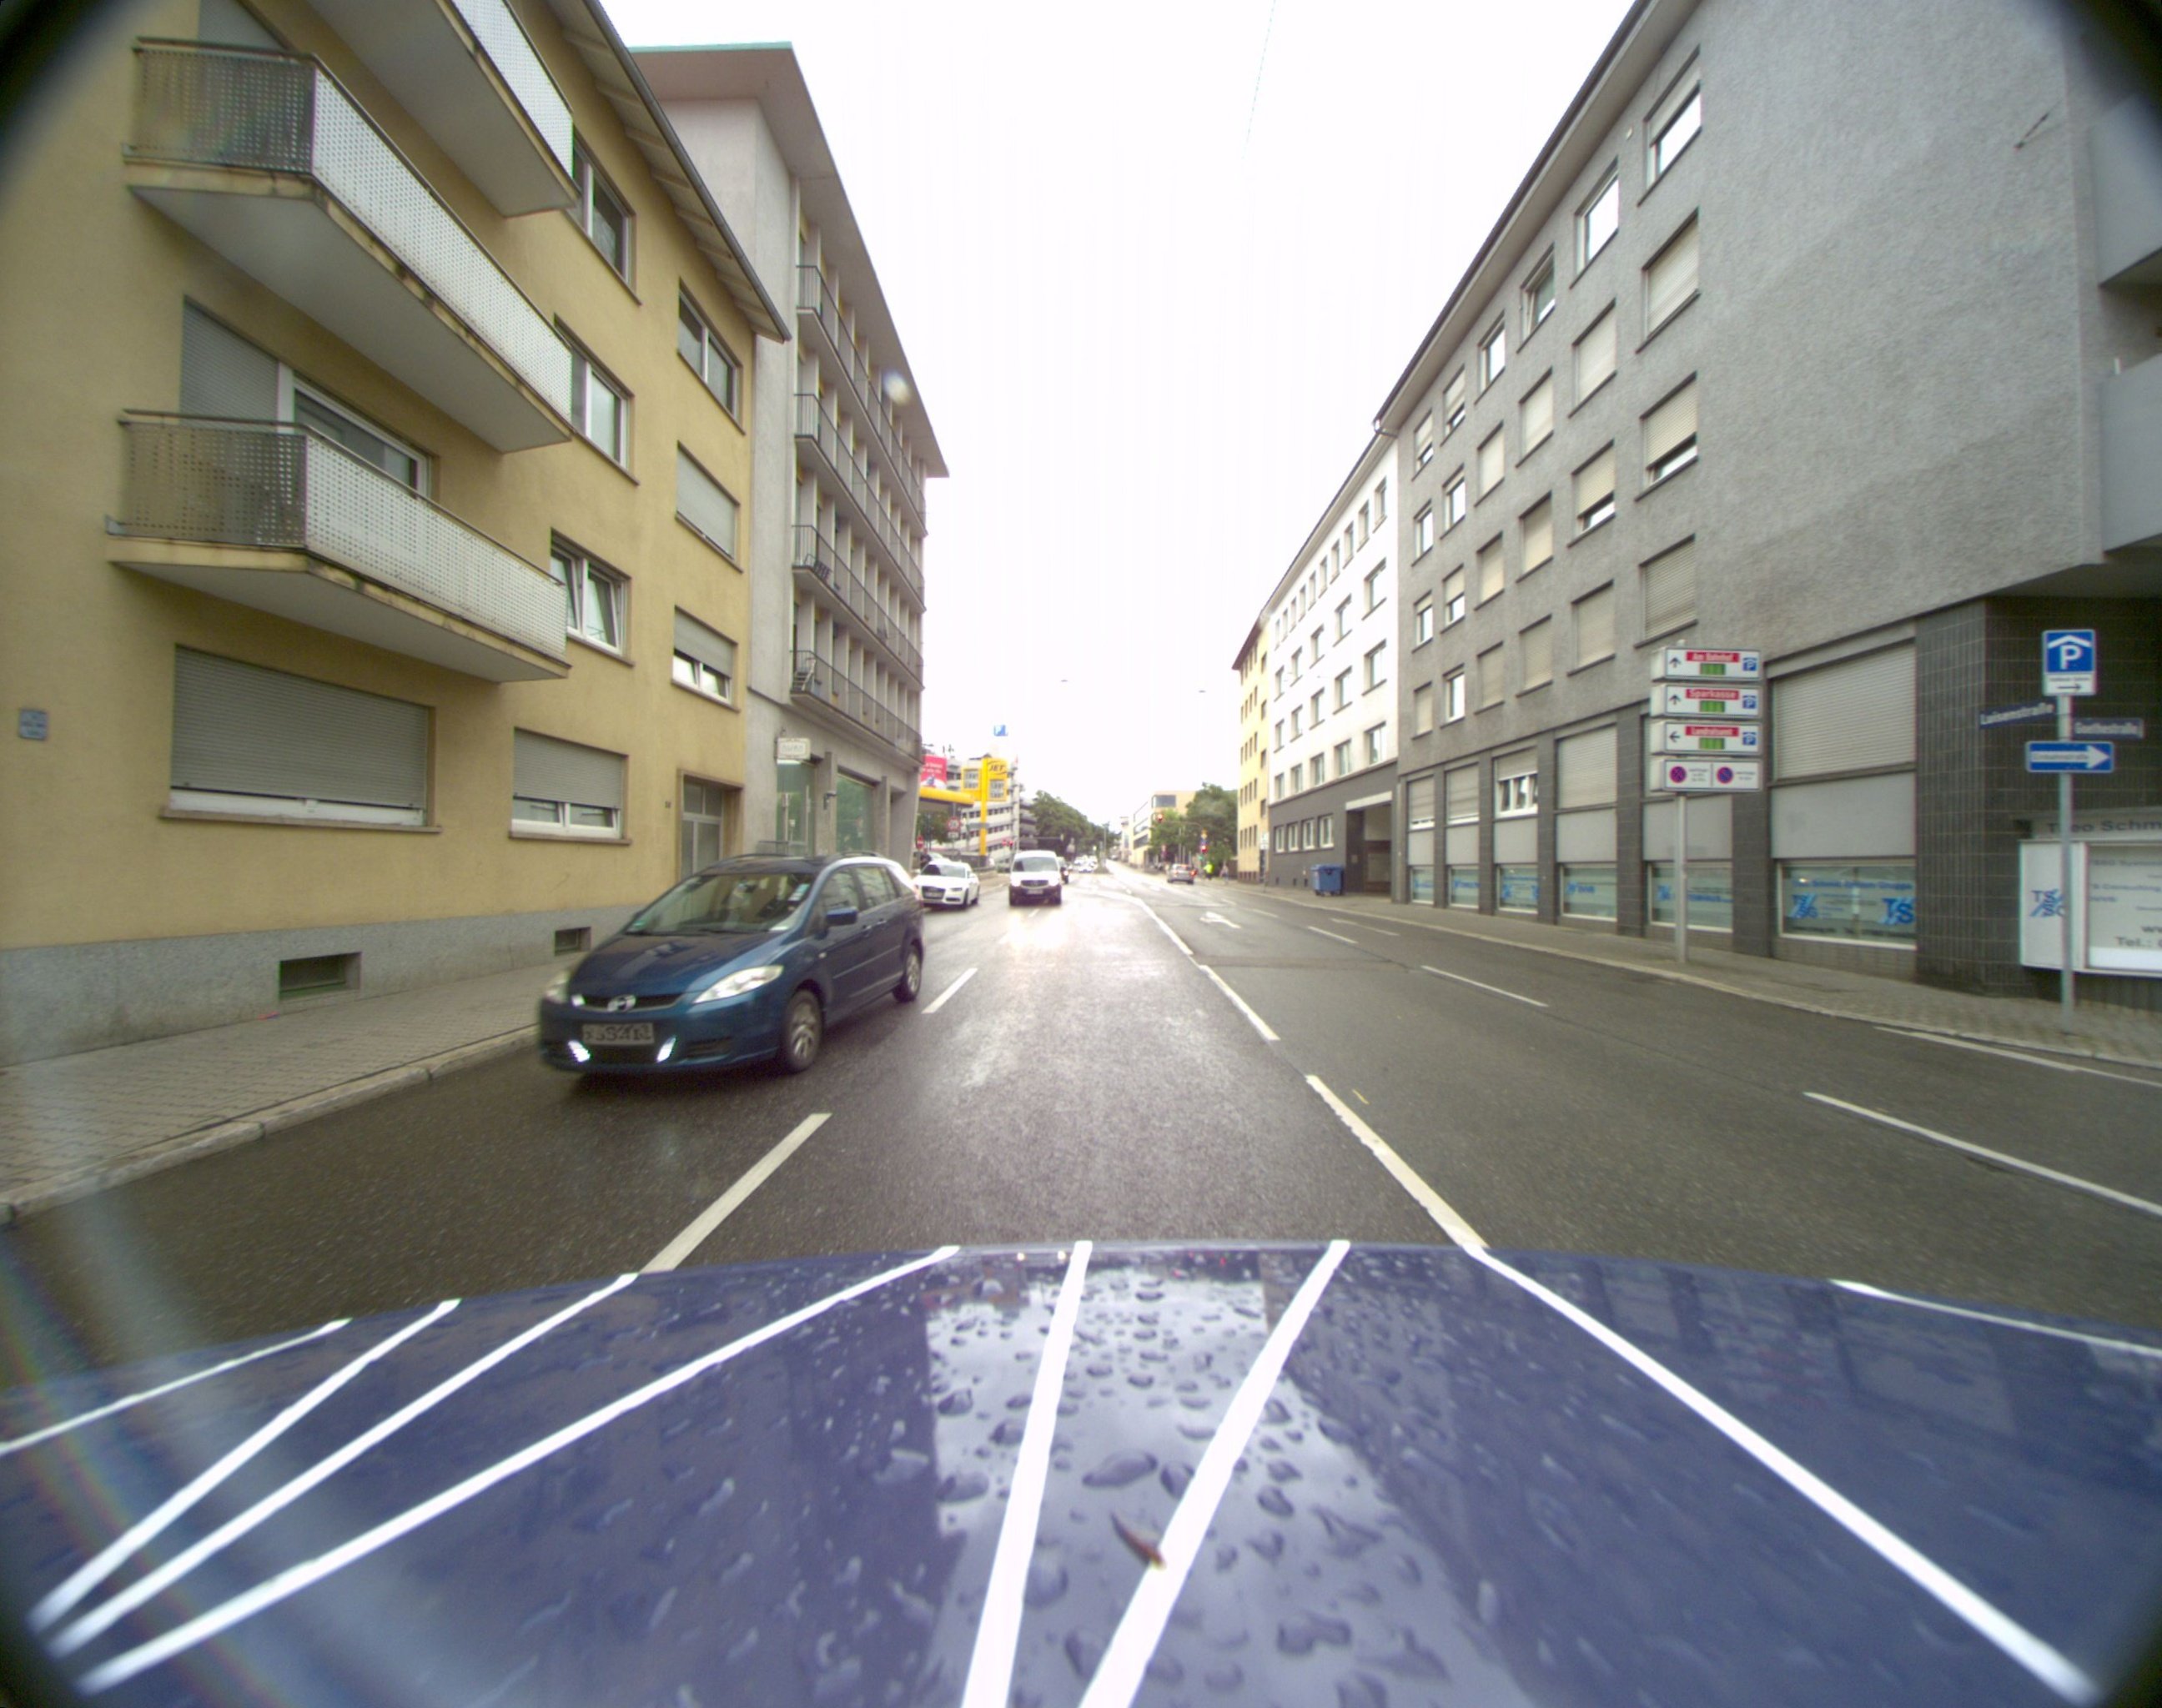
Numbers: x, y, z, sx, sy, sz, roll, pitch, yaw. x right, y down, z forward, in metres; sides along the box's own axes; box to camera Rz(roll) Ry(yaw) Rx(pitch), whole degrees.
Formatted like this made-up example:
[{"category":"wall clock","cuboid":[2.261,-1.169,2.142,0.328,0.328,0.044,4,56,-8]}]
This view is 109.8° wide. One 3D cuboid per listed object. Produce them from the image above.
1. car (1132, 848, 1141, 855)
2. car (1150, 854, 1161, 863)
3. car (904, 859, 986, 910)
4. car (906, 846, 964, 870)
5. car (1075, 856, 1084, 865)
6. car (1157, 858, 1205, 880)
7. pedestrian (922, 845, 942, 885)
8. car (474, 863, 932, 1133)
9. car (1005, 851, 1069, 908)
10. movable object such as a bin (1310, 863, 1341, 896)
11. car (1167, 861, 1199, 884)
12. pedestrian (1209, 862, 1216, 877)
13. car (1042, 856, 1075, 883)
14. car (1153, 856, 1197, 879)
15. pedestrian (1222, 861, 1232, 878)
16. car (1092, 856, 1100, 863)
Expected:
[{"category":"car","cuboid":[13.700,-0.604,188.442,1.998,1.683,4.000,-2,1,2]},{"category":"car","cuboid":[16.190,1.024,165.585,1.998,1.863,3.999,-2,1,1]},{"category":"car","cuboid":[-4.311,0.931,24.688,1.803,1.427,4.166,1,0,1]},{"category":"car","cuboid":[-10.054,0.305,52.261,3.989,1.465,1.775,-2,0,40]},{"category":"car","cuboid":[-0.318,1.600,191.274,1.998,2.002,3.999,-2,1,1]},{"category":"car","cuboid":[8.774,1.278,66.652,3.928,1.706,1.902,-3,0,2]},{"category":"pedestrian","cuboid":[-6.631,0.488,33.848,0.679,1.745,0.888,1,1,3]},{"category":"car","cuboid":[-2.792,0.936,6.862,1.812,1.597,4.212,-2,0,3]},{"category":"car","cuboid":[-1.445,0.798,26.441,1.945,1.764,4.745,-2,0,-1]},{"category":"movable object such as a bin","cuboid":[10.405,1.069,32.328,0.946,1.325,1.096,-3,0,1]},{"category":"car","cuboid":[7.624,1.343,57.155,1.883,1.580,4.373,0,0,1]},{"category":"pedestrian","cuboid":[11.615,1.355,66.994,0.442,1.362,0.535,3,1,3]},{"category":"car","cuboid":[-1.328,0.914,46.459,1.771,1.571,4.000,-1,0,1]},{"category":"car","cuboid":[8.518,1.240,68.964,3.794,1.823,1.692,-3,0,2]},{"category":"pedestrian","cuboid":[10.242,1.071,53.351,0.582,1.143,0.407,3,1,2]},{"category":"car","cuboid":[3.898,1.464,200.712,1.998,1.736,3.999,-2,1,1]}]
